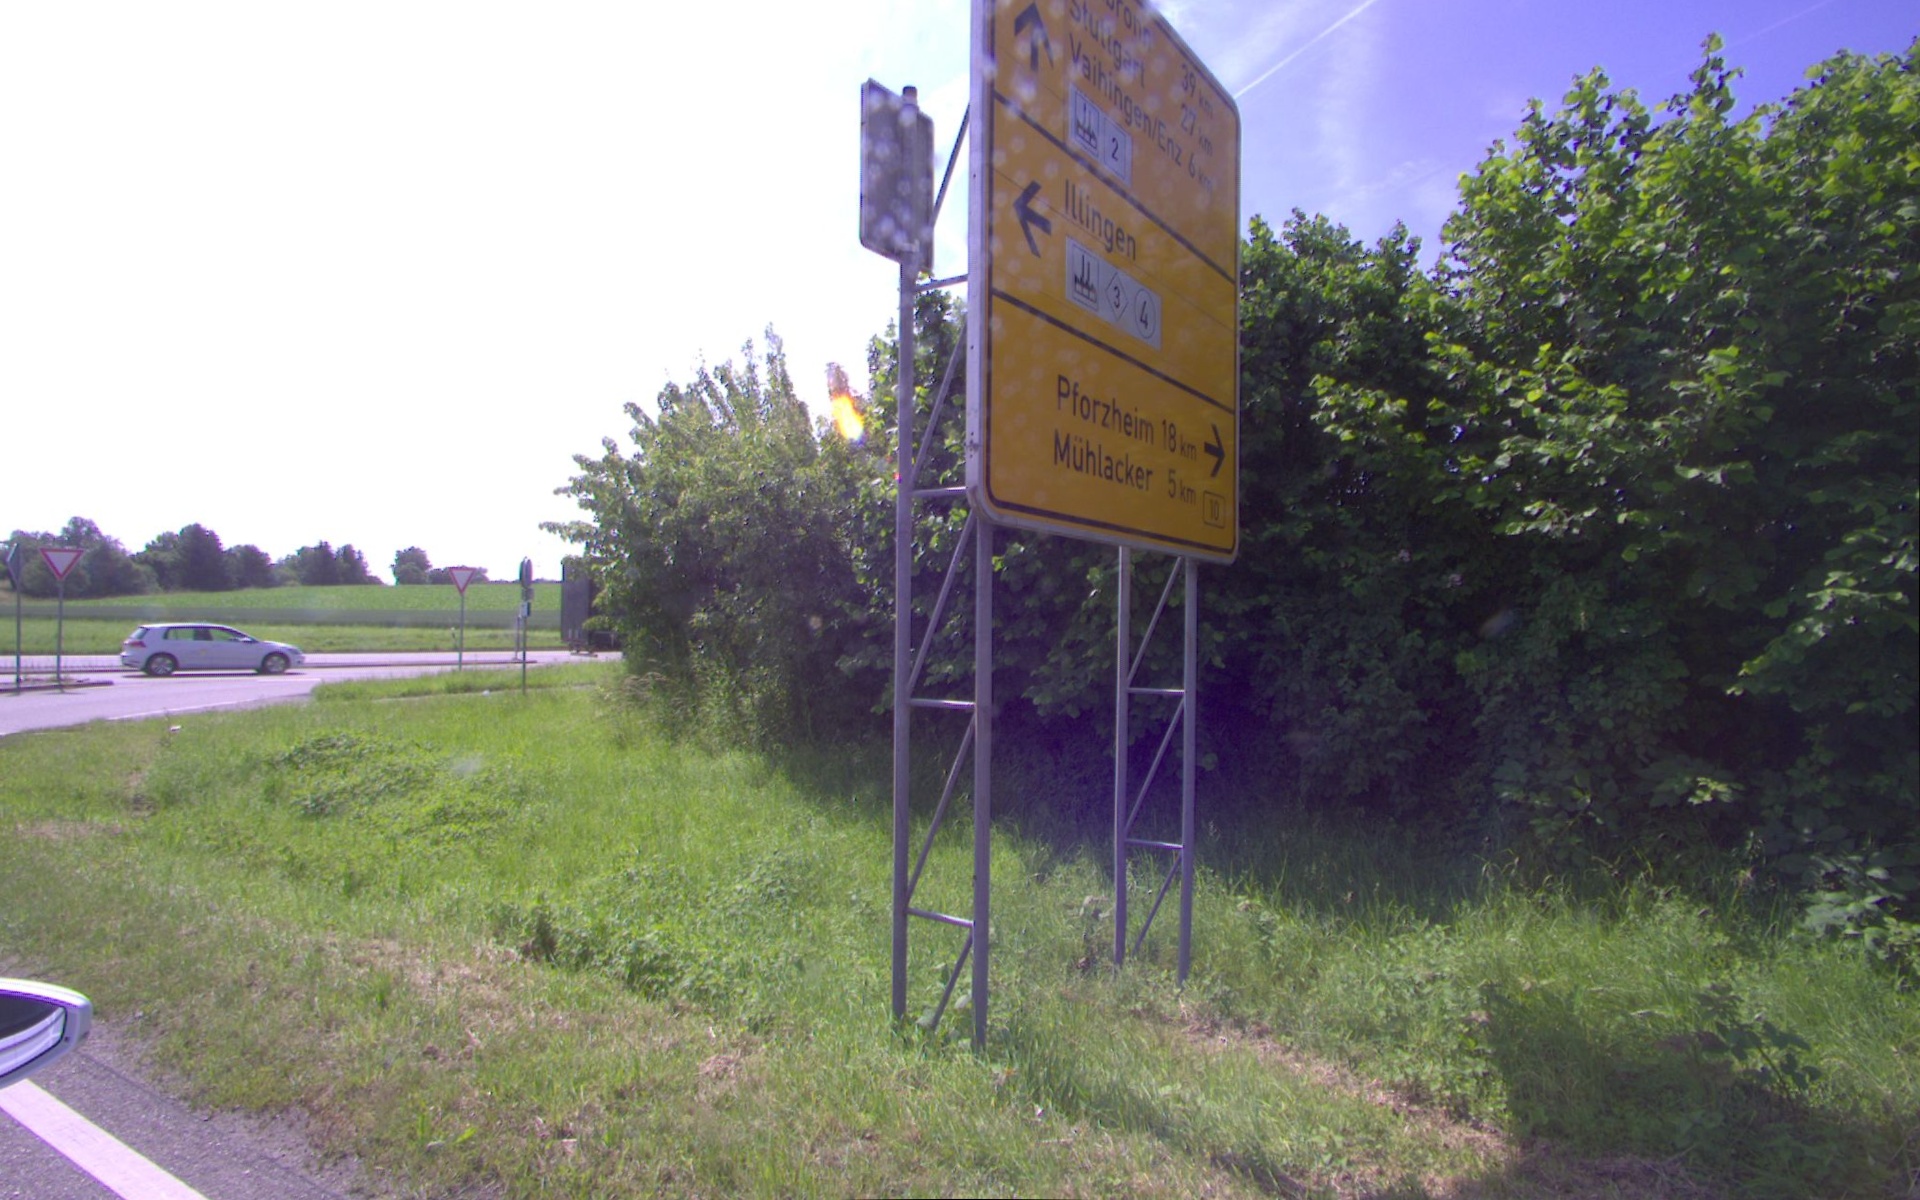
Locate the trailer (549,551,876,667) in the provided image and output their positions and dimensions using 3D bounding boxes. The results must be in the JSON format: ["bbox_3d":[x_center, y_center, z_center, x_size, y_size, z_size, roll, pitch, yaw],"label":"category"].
[{"bbox_3d":[-9.566,0.504,41.298,2.769,4.114,13.603,1,-1,45],"label":"trailer"}]

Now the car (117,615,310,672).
[{"bbox_3d":[-21.472,1.237,28.928,1.790,1.480,4.224,2,0,43],"label":"car"}]
